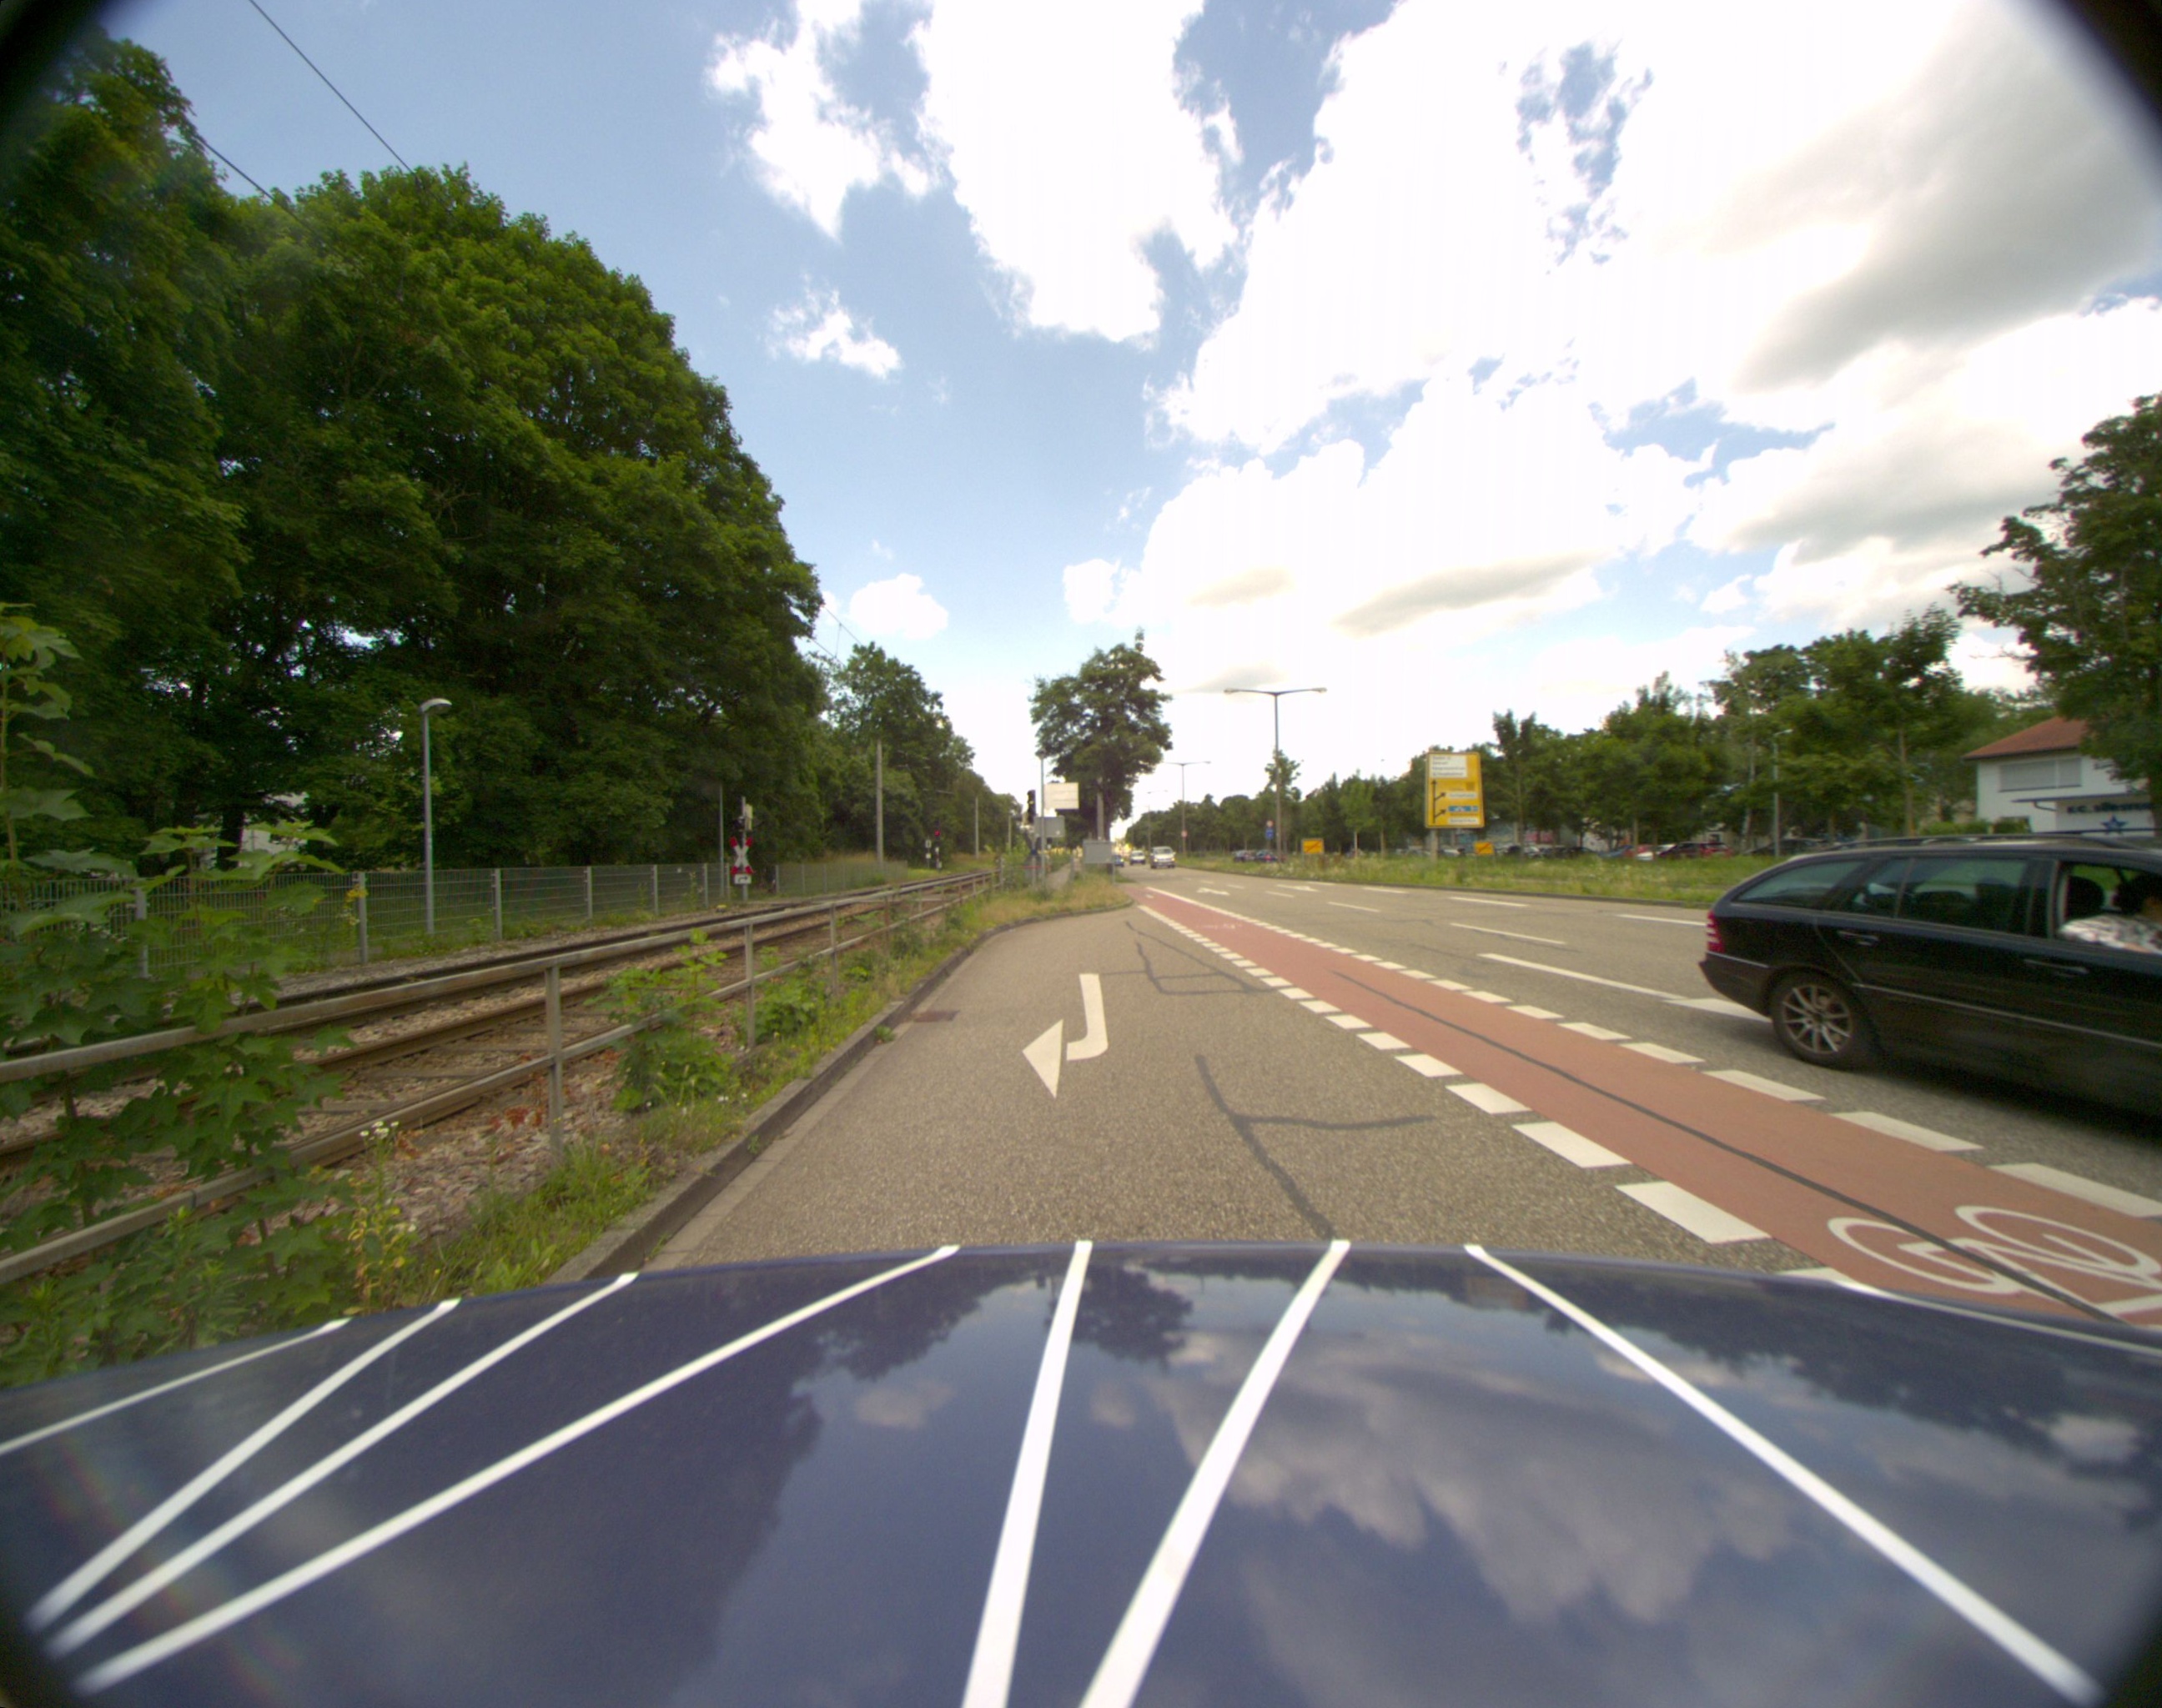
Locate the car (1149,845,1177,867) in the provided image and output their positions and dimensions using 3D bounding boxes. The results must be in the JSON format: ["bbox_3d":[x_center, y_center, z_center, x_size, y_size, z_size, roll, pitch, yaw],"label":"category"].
[{"bbox_3d":[7.498,0.148,70.027,1.818,1.907,5.231,-1,1,-2],"label":"car"}]

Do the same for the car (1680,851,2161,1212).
[{"bbox_3d":[5.465,0.766,3.493,1.760,1.457,4.431,-2,1,-3],"label":"car"}]

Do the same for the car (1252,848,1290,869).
[{"bbox_3d":[13.897,0.329,55.746,1.686,1.437,3.692,-1,0,-2],"label":"car"}]

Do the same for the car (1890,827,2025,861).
[{"bbox_3d":[36.249,-0.407,31.543,1.625,1.324,3.476,-1,0,1],"label":"car"}]

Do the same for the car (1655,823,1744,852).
[{"bbox_3d":[36.177,-0.947,44.610,1.998,1.578,4.023,-1,0,1],"label":"car"}]

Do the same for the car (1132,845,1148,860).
[{"bbox_3d":[7.413,-0.255,95.905,1.747,1.775,4.156,-2,1,2],"label":"car"}]

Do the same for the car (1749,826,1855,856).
[{"bbox_3d":[36.154,-0.616,38.242,1.729,1.403,3.866,-1,0,1],"label":"car"}]

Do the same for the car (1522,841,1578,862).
[{"bbox_3d":[36.946,-0.189,59.991,1.998,1.578,4.023,-1,0,1],"label":"car"}]

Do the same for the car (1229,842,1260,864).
[{"bbox_3d":[15.843,-0.115,73.725,1.999,2.002,3.999,-1,0,-2],"label":"car"}]

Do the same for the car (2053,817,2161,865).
[{"bbox_3d":[36.511,-0.443,25.838,1.762,1.578,4.023,-1,0,1],"label":"car"}]
